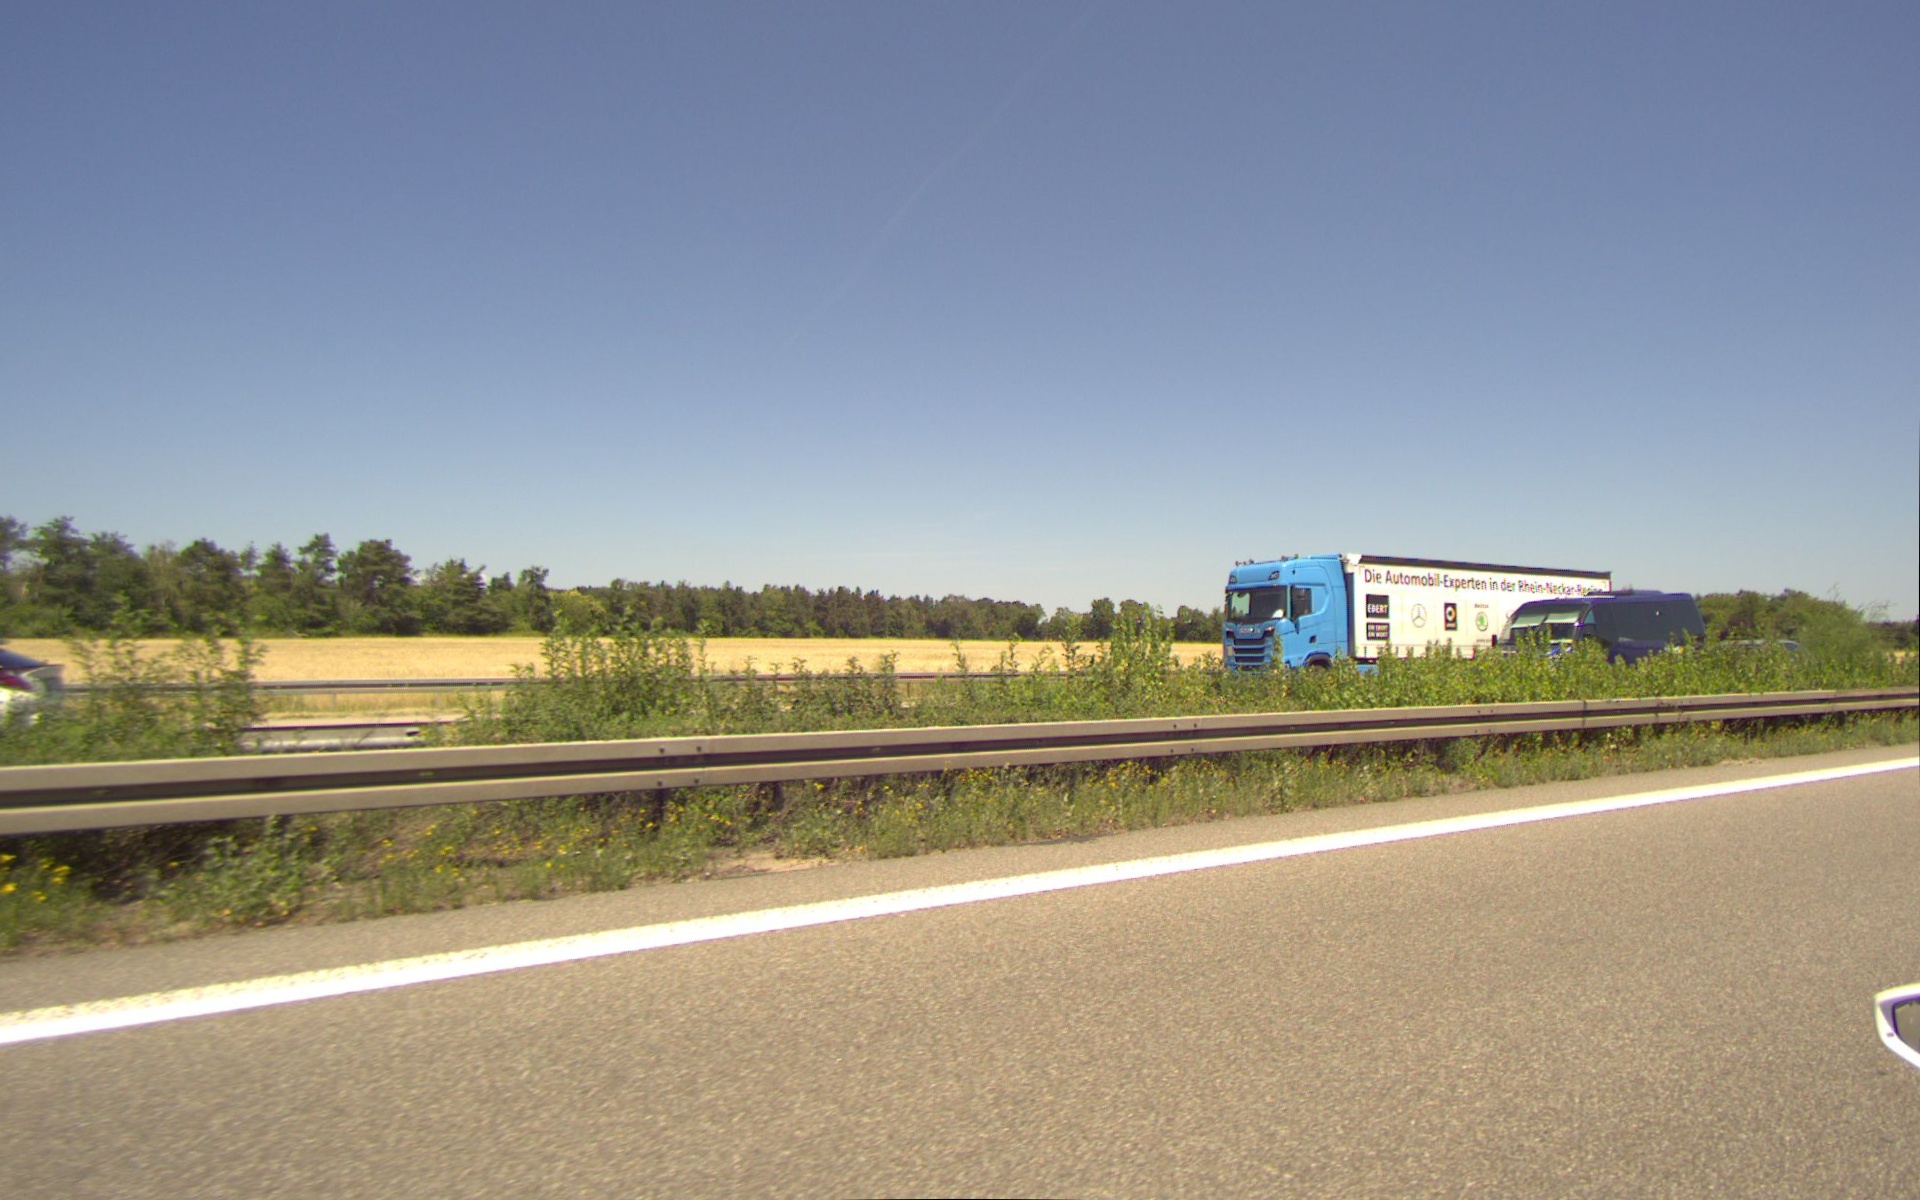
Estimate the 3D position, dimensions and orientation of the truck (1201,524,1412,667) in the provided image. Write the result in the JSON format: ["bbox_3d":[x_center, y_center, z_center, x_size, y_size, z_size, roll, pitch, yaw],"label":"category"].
[{"bbox_3d":[10.019,-0.077,29.069,5.136,3.748,3.096,1,0,-30],"label":"truck"}]

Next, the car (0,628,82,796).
[{"bbox_3d":[-11.371,1.076,9.791,3.881,1.641,1.839,2,-2,-30],"label":"car"}]

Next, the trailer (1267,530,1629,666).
[{"bbox_3d":[16.269,0.098,32.670,14.211,3.748,3.095,2,0,-30],"label":"trailer"}]

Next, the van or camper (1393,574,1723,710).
[{"bbox_3d":[16.591,1.142,27.370,11.376,3.142,2.598,2,-2,-30],"label":"van or camper"}]
